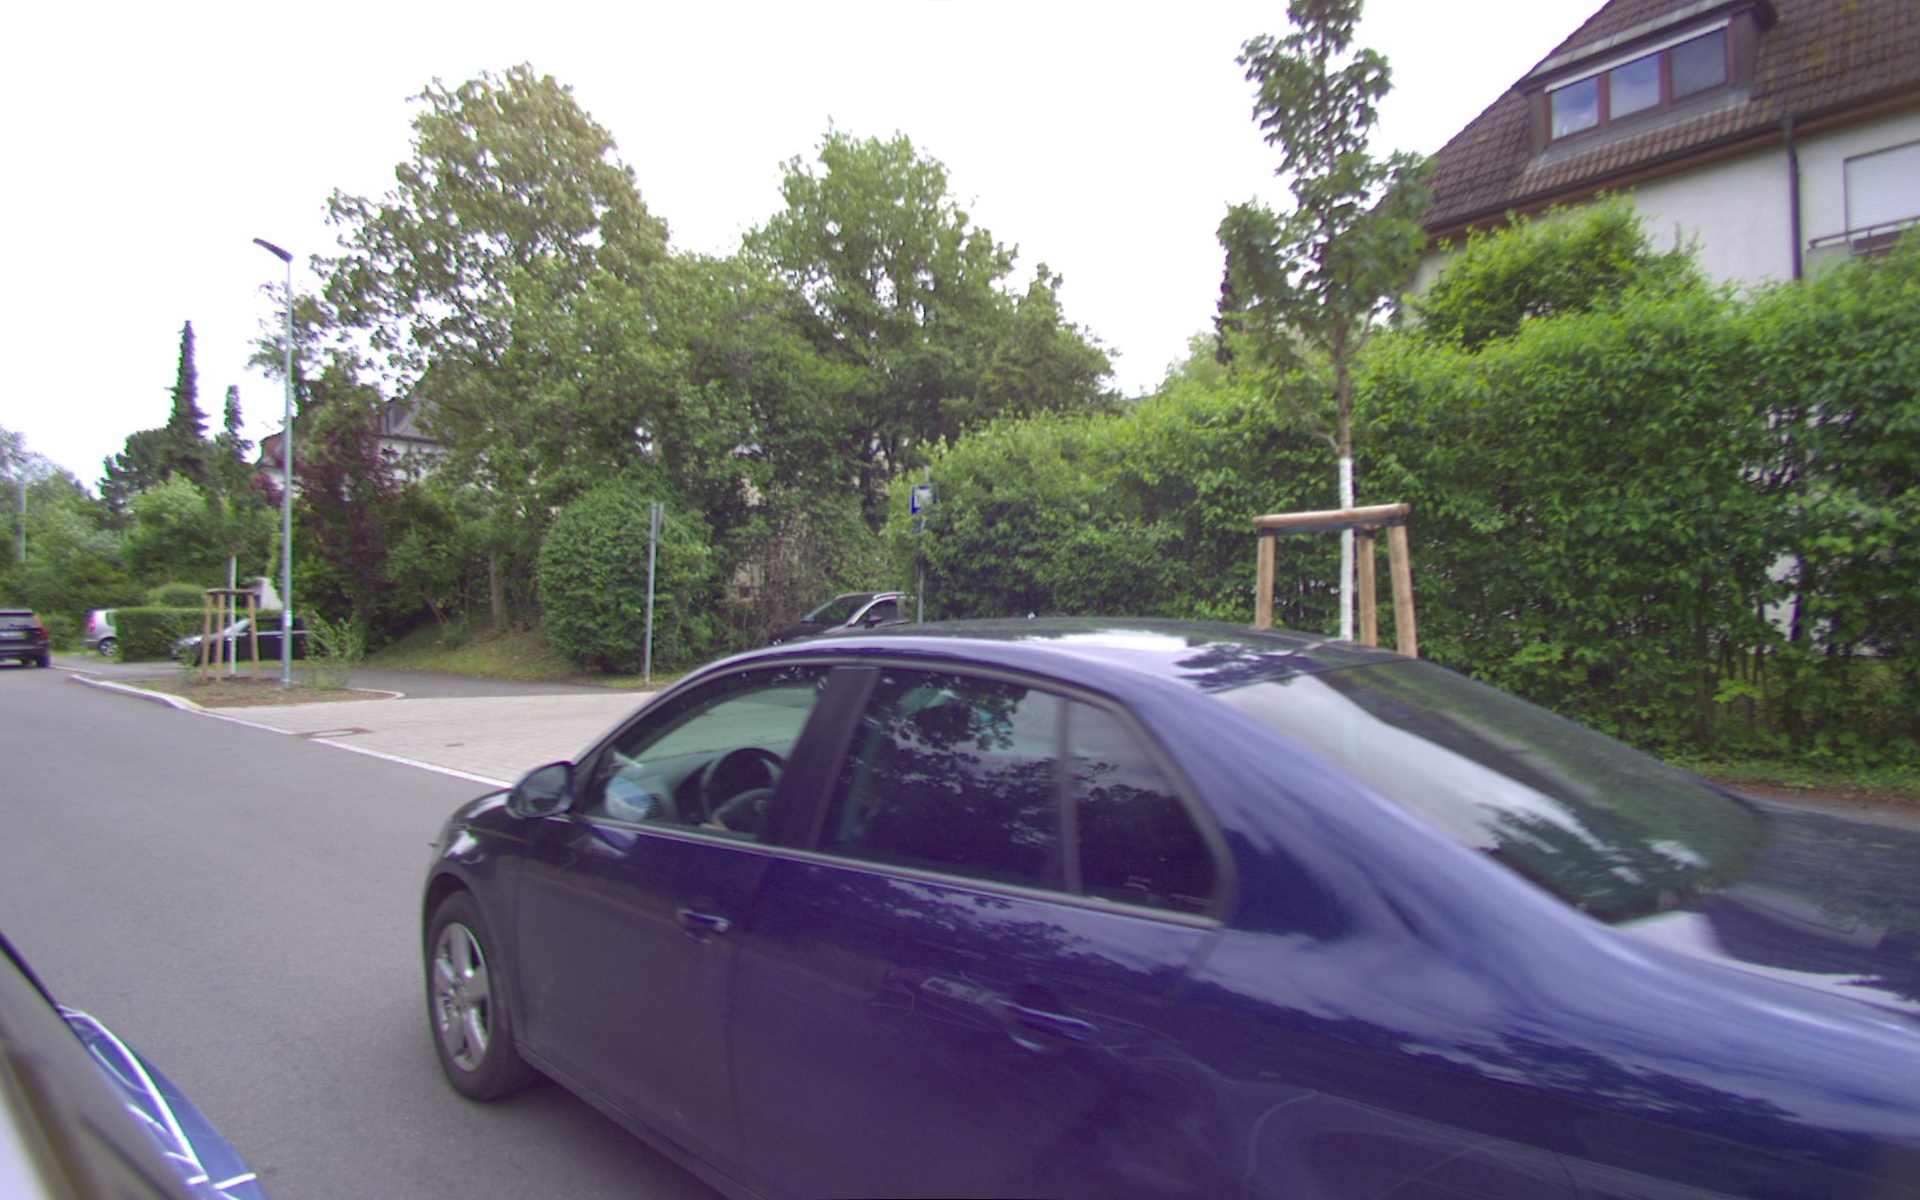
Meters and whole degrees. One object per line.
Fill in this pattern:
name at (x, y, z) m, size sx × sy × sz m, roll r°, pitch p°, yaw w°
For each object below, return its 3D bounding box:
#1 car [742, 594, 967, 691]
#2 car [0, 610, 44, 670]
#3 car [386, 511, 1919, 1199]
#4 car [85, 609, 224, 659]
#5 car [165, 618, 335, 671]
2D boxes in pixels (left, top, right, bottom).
car at (-1.856, 0.711, 18.826) m, size 1.683 × 1.569 × 4.076 m, roll -1°, pitch 0°, yaw 42°
car at (-28.782, 1.176, 30.079) m, size 4.194 × 1.693 × 1.897 m, roll -1°, pitch 0°, yaw 42°
car at (0.296, 0.676, 2.488) m, size 4.193 × 1.485 × 1.689 m, roll -1°, pitch 0°, yaw 41°
car at (-28.386, 1.162, 35.735) m, size 3.720 × 1.602 × 1.642 m, roll -1°, pitch 0°, yaw -43°
car at (-20.268, 1.218, 28.973) m, size 1.640 × 1.324 × 3.724 m, roll -1°, pitch 0°, yaw 42°
